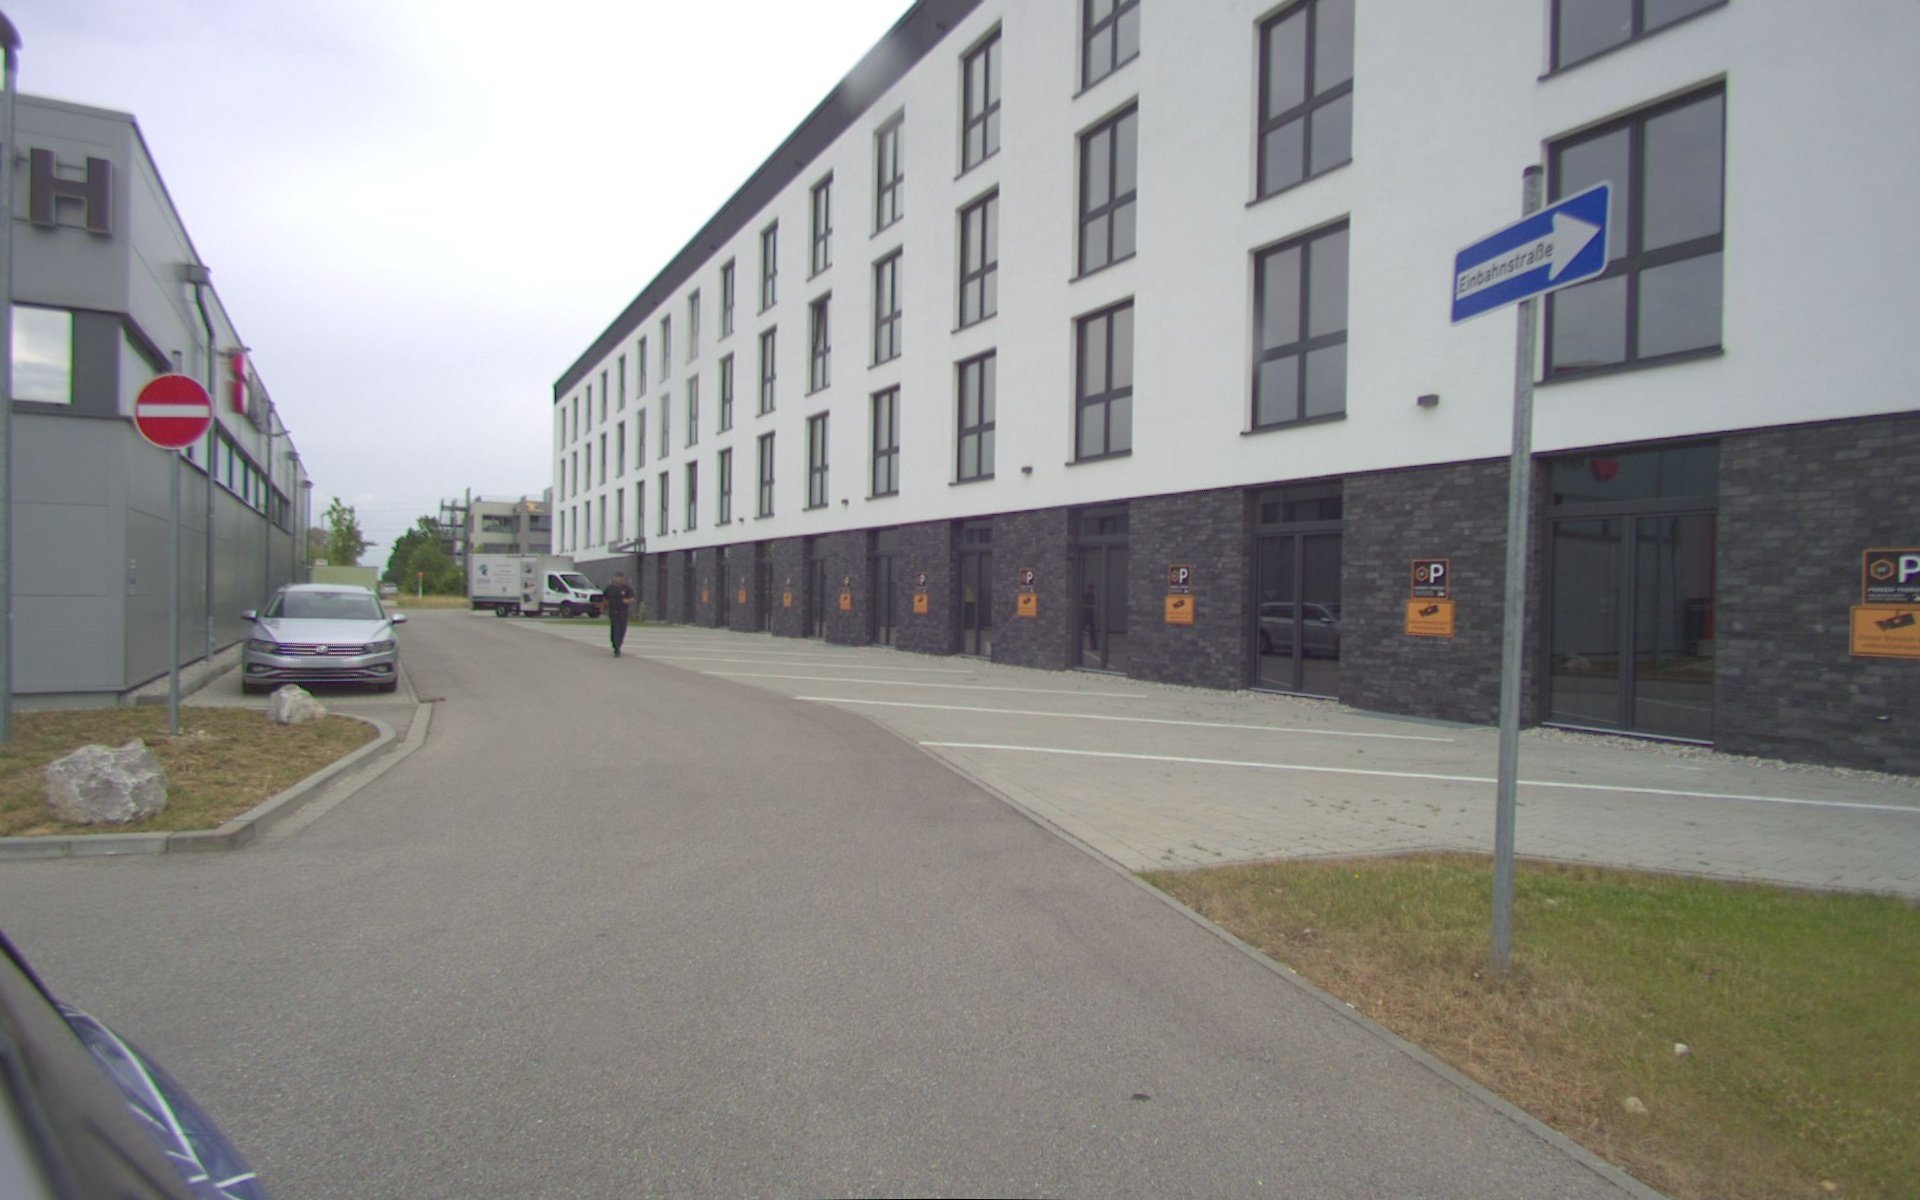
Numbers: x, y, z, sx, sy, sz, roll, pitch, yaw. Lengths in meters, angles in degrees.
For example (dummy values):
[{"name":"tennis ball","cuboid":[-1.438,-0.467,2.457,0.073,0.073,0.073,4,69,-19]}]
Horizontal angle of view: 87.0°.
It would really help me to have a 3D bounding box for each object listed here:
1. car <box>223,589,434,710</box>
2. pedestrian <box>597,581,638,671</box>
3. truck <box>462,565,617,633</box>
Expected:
[{"name":"car","cuboid":[-9.187,0.656,15.151,1.946,1.503,4.786,3,-1,-24]},{"name":"pedestrian","cuboid":[-7.145,0.535,21.082,0.697,1.836,0.816,1,0,-25]},{"name":"truck","cuboid":[-19.779,-0.095,47.630,7.018,3.039,2.420,1,0,21]}]
